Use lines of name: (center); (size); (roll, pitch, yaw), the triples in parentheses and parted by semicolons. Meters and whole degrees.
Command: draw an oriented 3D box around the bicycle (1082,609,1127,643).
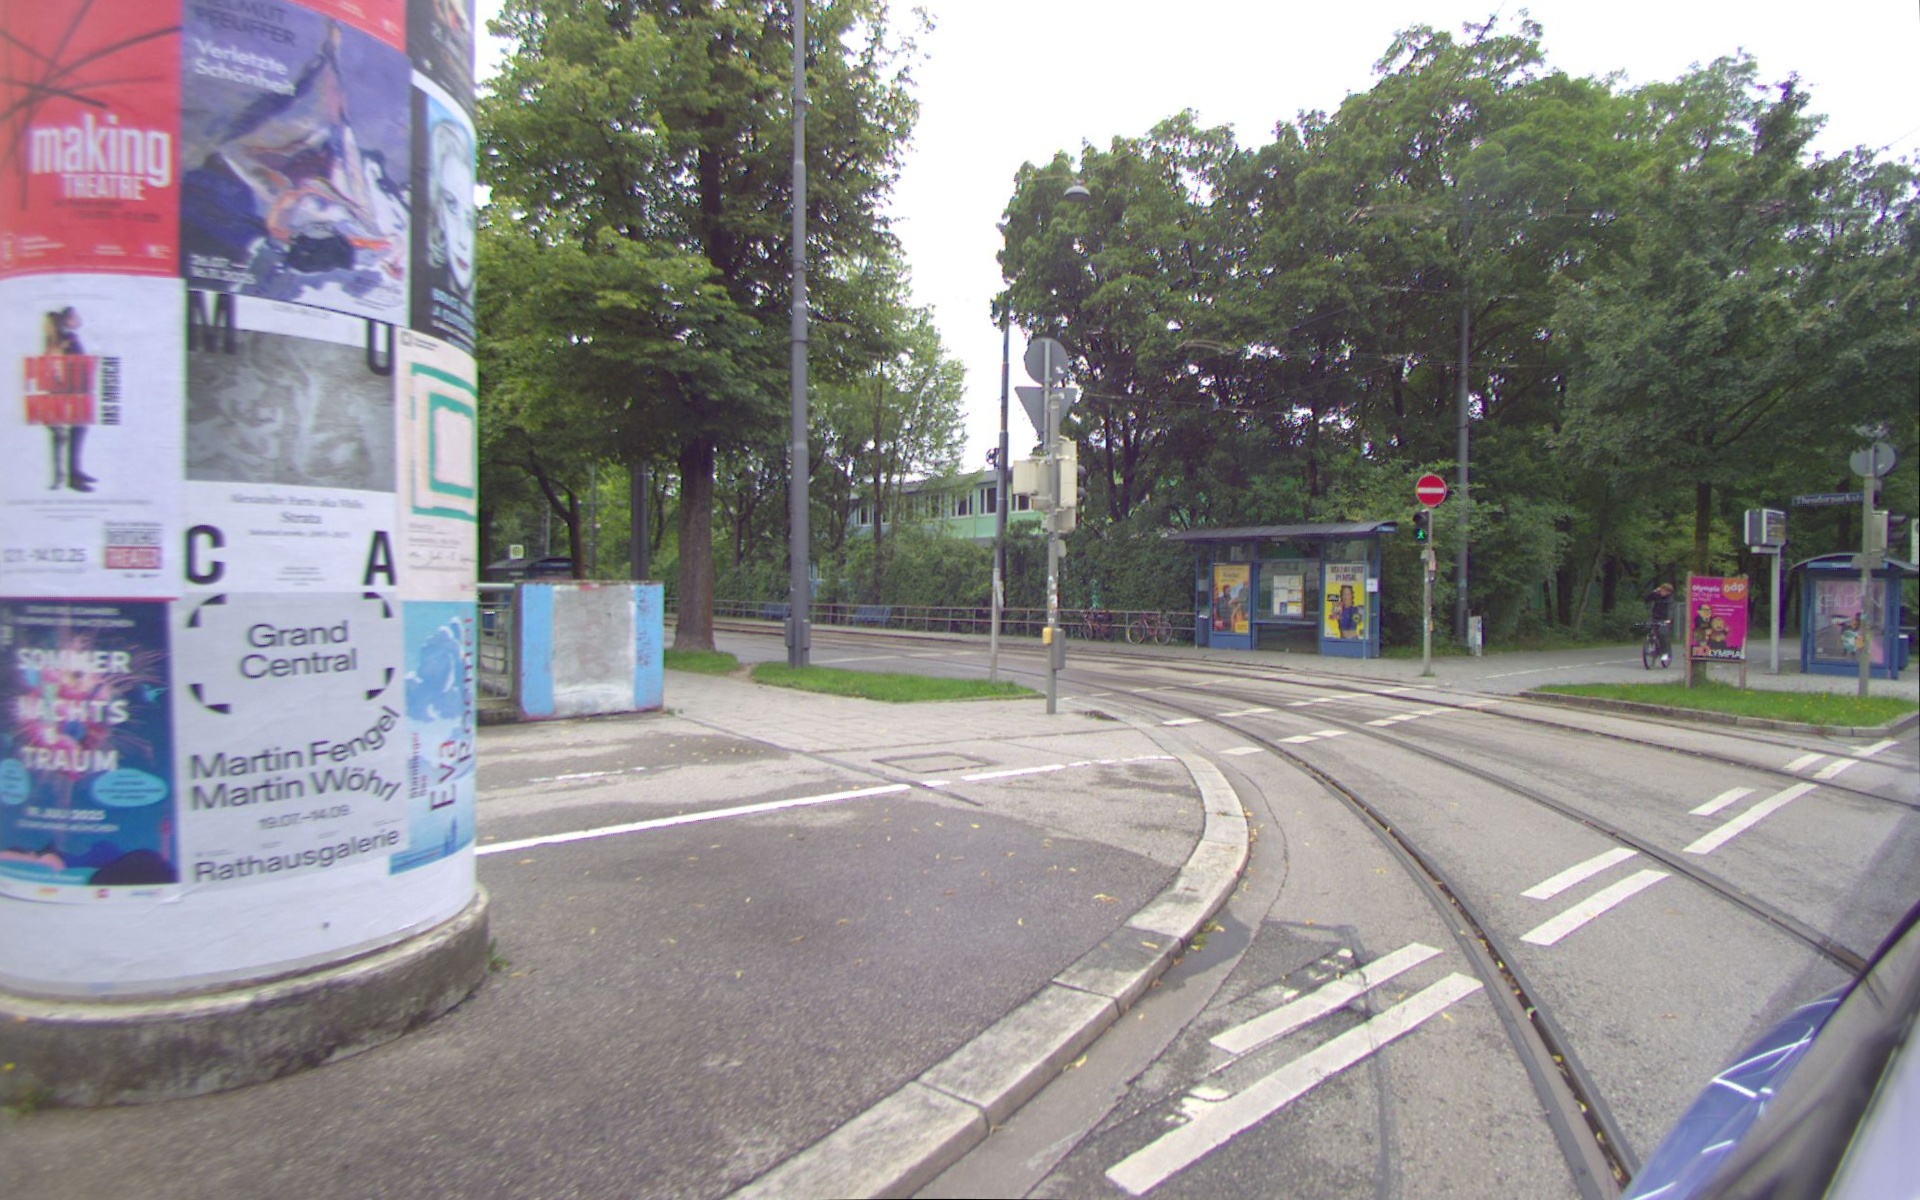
bicycle: (4.282, 0.760, 30.087); (0.366, 0.964, 1.483); (-1, 1, -37)

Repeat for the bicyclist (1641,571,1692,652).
bicyclist: (15.547, 0.250, 22.268); (0.714, 1.751, 0.725); (-1, -1, -41)

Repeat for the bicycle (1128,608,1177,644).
bicycle: (5.415, 0.727, 28.503); (0.366, 0.964, 1.483); (-1, 1, -37)

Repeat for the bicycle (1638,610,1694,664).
bicycle: (15.495, 0.794, 22.200); (1.879, 1.092, 0.579); (-1, -1, -42)
